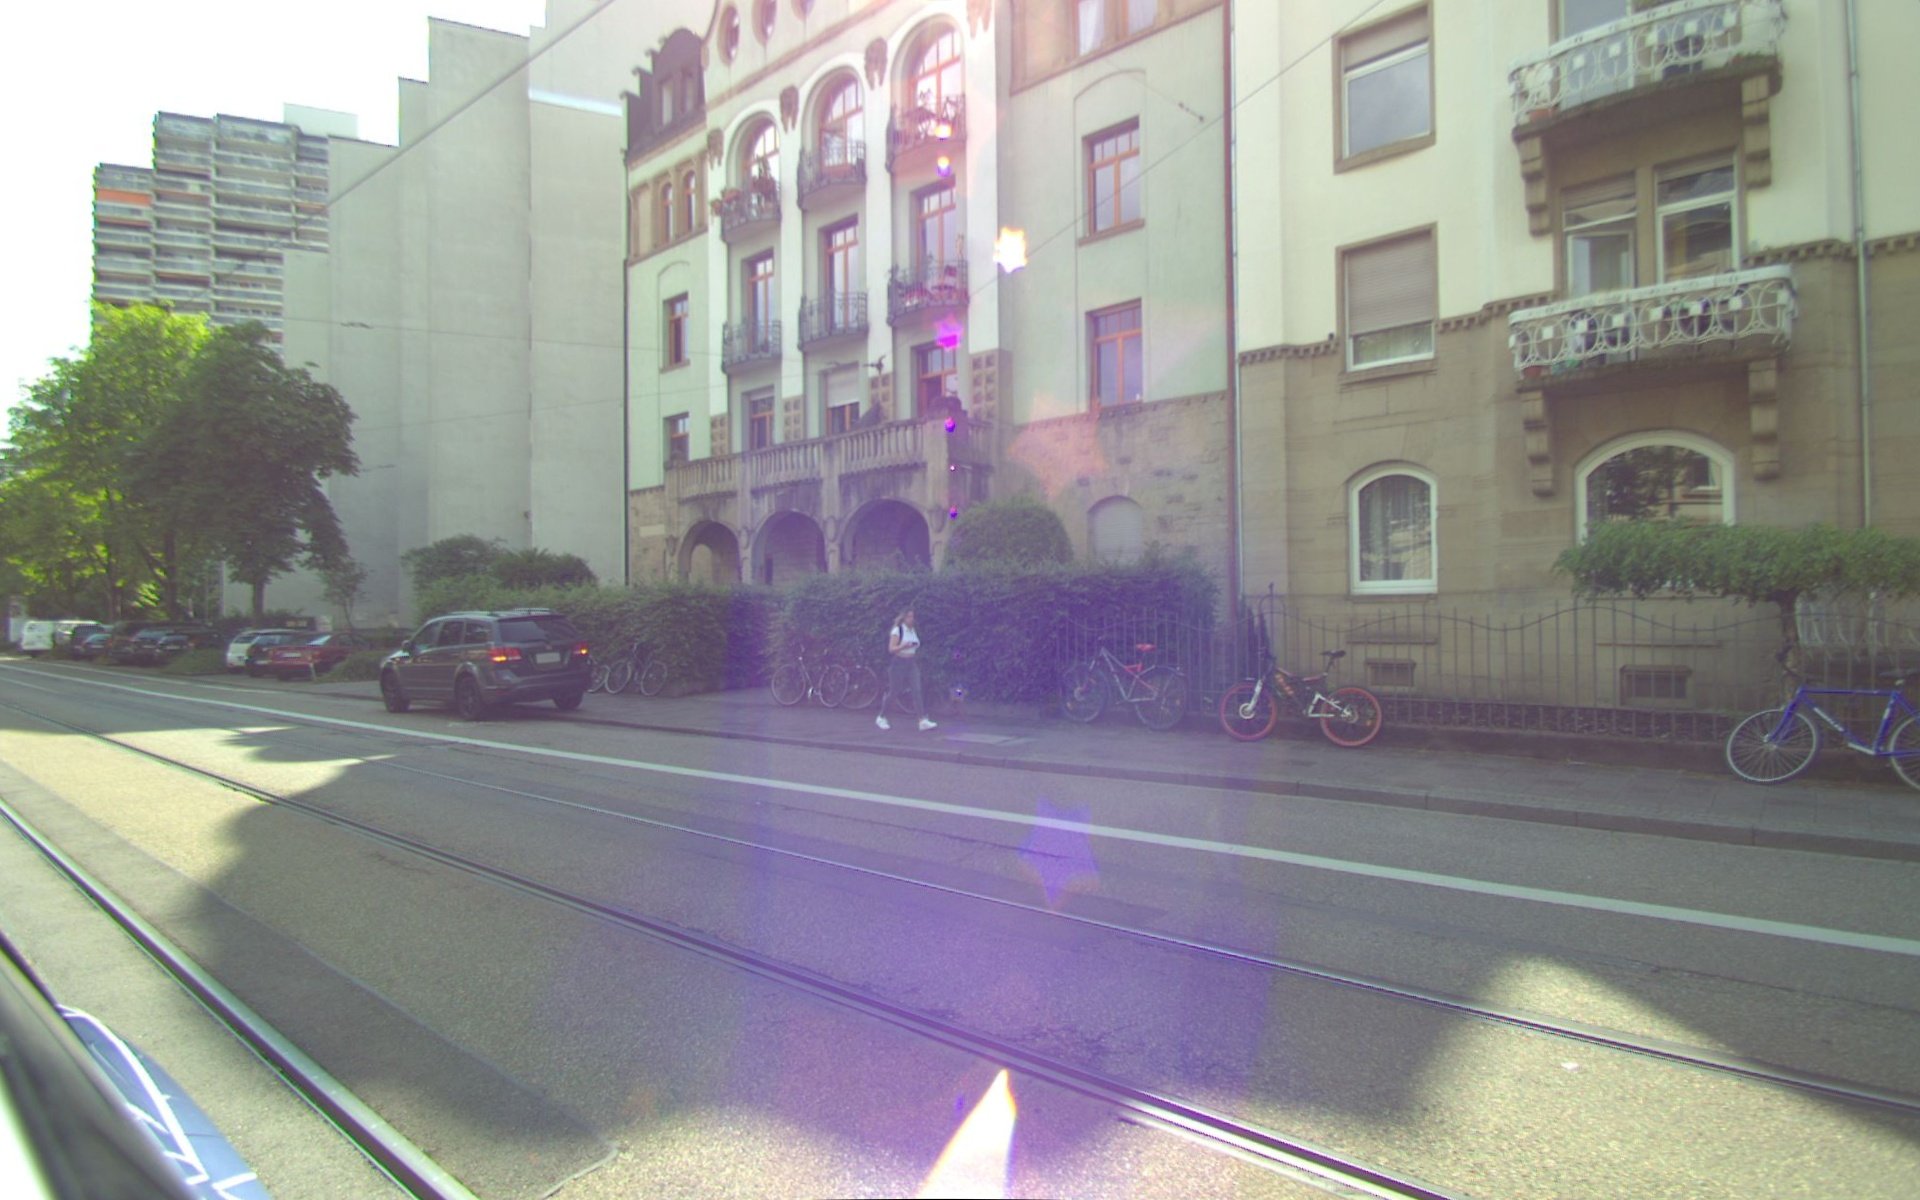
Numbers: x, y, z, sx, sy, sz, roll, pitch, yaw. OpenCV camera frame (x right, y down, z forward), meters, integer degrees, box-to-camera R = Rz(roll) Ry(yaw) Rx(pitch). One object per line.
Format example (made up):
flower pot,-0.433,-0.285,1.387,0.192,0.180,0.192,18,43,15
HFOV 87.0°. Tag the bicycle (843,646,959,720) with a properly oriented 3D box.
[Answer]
bicycle,-0.855,1.146,14.319,1.799,0.966,0.446,-2,0,40

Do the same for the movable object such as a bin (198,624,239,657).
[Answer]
movable object such as a bin,-41.667,2.288,56.842,1.536,1.795,1.374,-1,-4,37

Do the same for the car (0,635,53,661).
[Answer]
car,-59.629,3.011,63.814,1.715,1.535,3.890,-1,-1,-6

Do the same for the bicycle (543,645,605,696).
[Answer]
bicycle,-7.801,1.404,20.428,1.809,0.966,0.379,-2,0,42

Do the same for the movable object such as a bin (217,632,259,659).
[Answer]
movable object such as a bin,-39.020,2.469,54.692,1.536,1.374,1.374,-1,-4,37

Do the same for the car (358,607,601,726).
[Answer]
car,-8.277,1.060,17.239,4.876,1.776,1.768,-2,-2,38

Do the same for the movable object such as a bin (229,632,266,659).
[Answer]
movable object such as a bin,-37.792,2.408,53.679,1.439,1.391,1.181,-1,-4,37

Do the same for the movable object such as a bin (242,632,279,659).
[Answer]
movable object such as a bin,-35.421,2.313,51.249,1.440,1.293,1.156,-1,-4,40

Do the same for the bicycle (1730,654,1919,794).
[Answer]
bicycle,6.871,0.911,7.577,1.705,0.966,0.421,-2,0,42

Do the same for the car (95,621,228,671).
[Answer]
car,-33.788,1.969,43.062,1.887,1.969,5.174,1,-3,-6

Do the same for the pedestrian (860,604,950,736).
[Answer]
pedestrian,-0.701,0.859,12.811,0.882,1.580,0.672,-2,0,43

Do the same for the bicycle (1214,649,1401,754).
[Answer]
bicycle,3.551,1.010,10.459,1.800,0.983,0.379,-2,0,42

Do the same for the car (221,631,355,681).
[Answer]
car,-21.294,1.777,32.254,1.674,1.495,3.805,1,-3,1

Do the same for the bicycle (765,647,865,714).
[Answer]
bicycle,-2.268,1.218,15.652,1.921,0.966,0.379,-2,0,42

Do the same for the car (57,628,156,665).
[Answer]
car,-41.151,2.267,48.910,1.734,1.706,3.717,1,-3,-3

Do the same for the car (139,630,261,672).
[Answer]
car,-28.916,1.954,38.652,1.716,1.495,4.001,1,-3,-2

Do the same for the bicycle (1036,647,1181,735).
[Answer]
bicycle,1.754,1.060,12.178,1.800,0.966,0.379,-2,0,42

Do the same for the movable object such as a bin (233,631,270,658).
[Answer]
movable object such as a bin,-36.546,2.304,52.197,1.440,1.337,1.152,-1,-4,39

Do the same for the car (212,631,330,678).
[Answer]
car,-23.443,1.848,34.603,1.672,1.495,3.811,1,-3,-5

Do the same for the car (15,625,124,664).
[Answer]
car,-48.473,2.381,55.239,1.940,2.012,4.687,-1,-2,-1

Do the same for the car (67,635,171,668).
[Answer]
car,-38.713,2.364,46.723,1.733,1.428,4.005,1,-3,-6

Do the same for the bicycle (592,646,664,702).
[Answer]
bicycle,-6.266,1.372,19.055,1.921,0.966,0.379,-2,0,42

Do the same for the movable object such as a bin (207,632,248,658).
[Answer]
movable object such as a bin,-40.314,2.471,55.725,1.536,1.374,1.374,-1,-4,37

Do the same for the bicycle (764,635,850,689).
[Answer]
bicycle,-3.089,1.235,20.618,0.384,0.966,1.895,-2,0,41

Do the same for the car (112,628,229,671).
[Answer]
car,-31.449,1.972,40.477,1.715,1.605,4.003,1,-3,-4

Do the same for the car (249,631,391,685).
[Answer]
car,-18.963,1.715,30.214,1.819,1.495,3.972,1,-3,-3
